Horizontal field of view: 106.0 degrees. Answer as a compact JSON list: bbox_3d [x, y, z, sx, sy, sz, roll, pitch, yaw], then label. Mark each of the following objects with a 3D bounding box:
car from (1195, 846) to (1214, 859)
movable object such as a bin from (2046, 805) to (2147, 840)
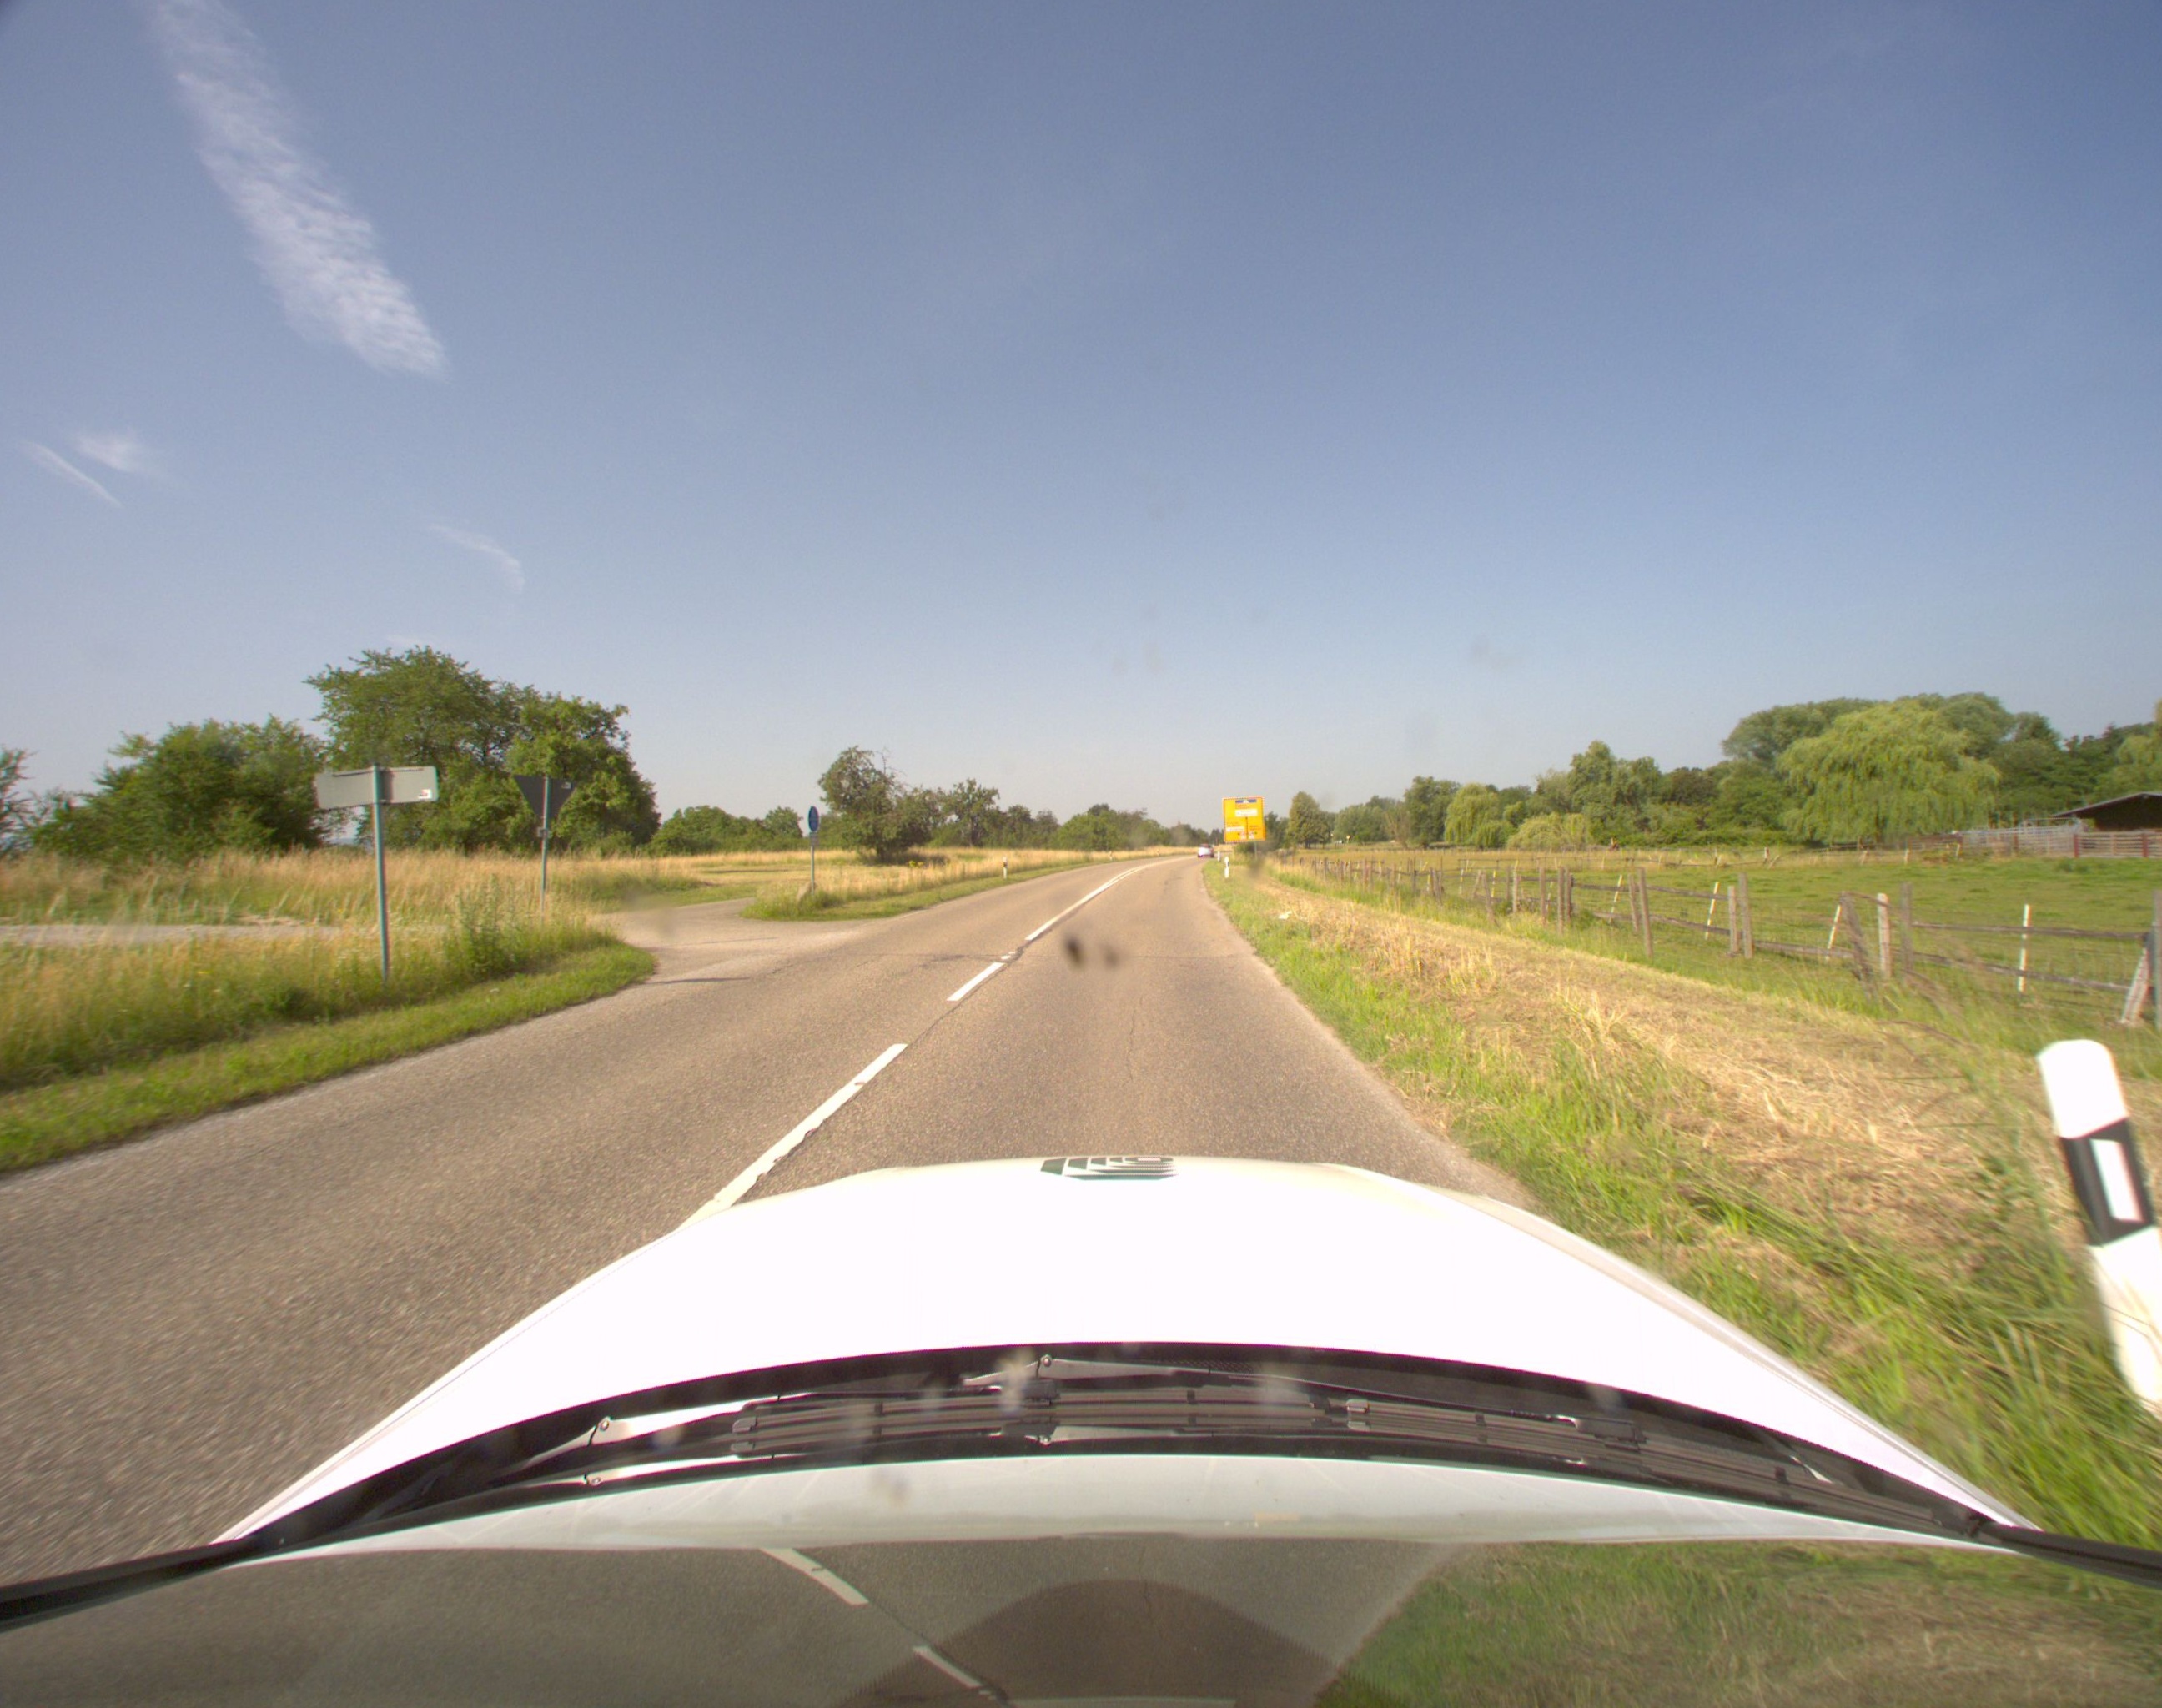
[{"bbox_3d":[14.956,-0.222,98.225,1.886,1.512,4.015,0,0,14],"label":"car"},{"bbox_3d":[68.620,-2.105,55.135,1.982,2.193,4.175,-1,0,9],"label":"movable object such as a bin"}]
